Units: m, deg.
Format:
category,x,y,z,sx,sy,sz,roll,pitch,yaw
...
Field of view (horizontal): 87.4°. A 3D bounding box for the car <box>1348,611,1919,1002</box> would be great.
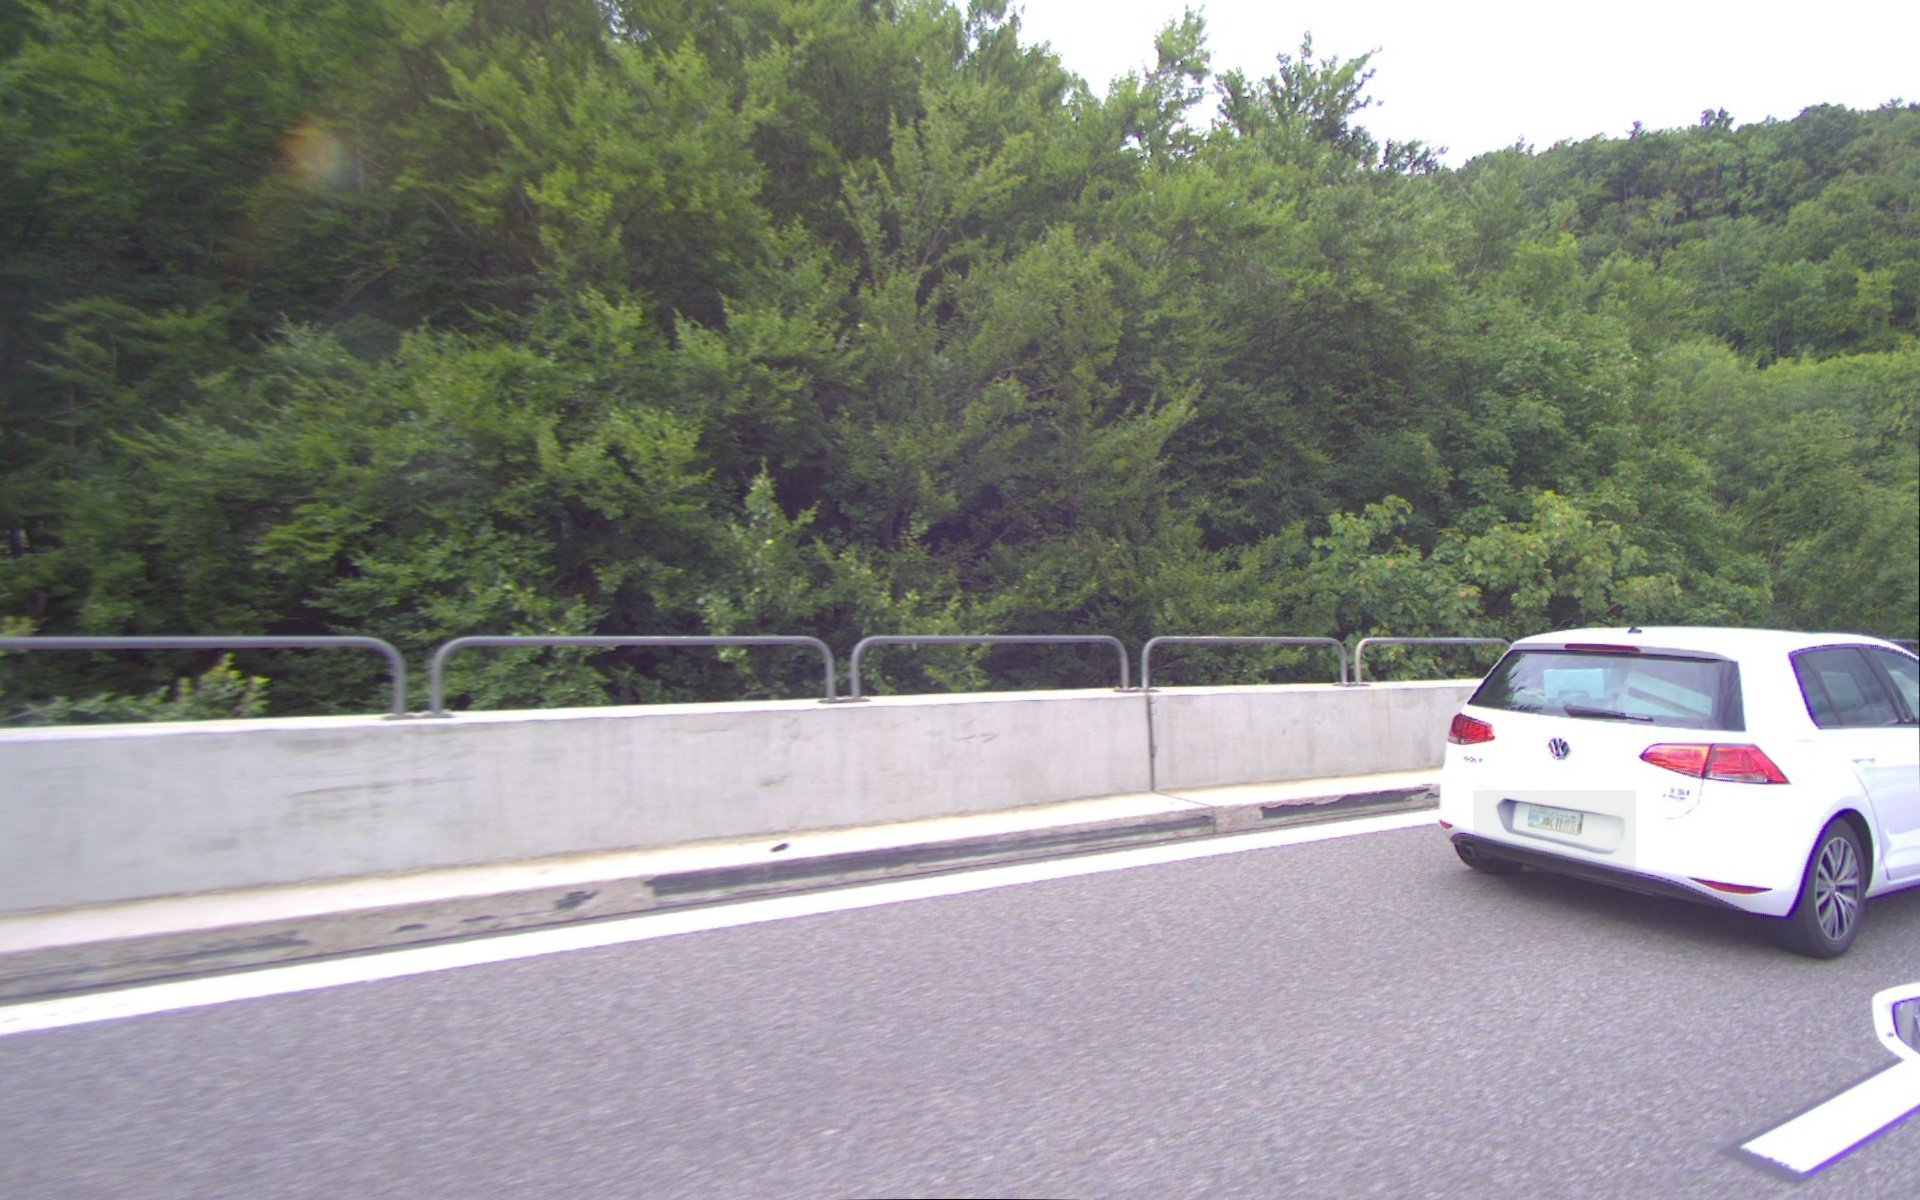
category,x,y,z,sx,sy,sz,roll,pitch,yaw
car,4.574,0.853,5.810,4.570,1.501,1.837,1,0,-29
